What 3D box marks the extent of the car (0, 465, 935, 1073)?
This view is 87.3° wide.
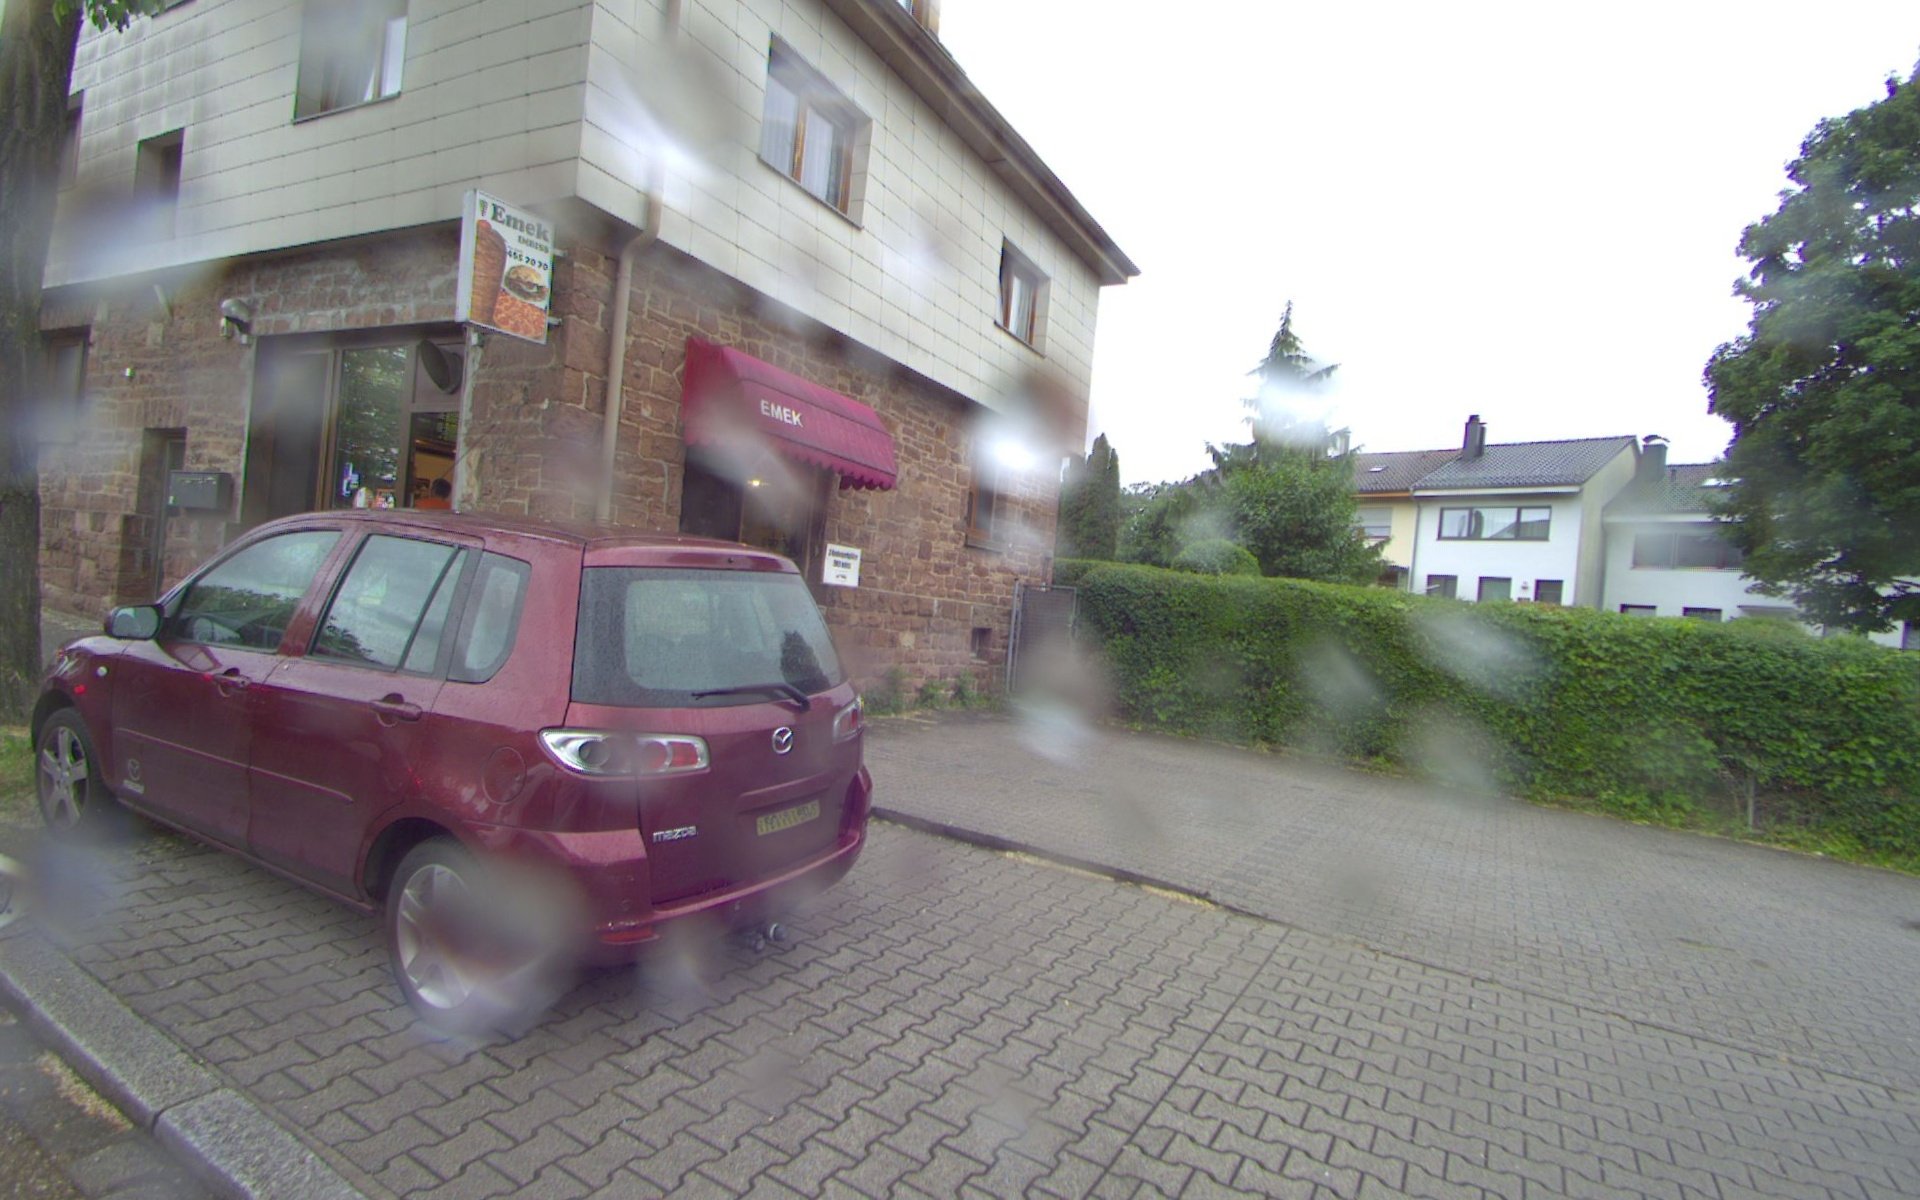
[{"bbox_3d":[-2.162,0.378,4.135,3.692,1.521,1.614,5,-3,29],"label":"car"}]

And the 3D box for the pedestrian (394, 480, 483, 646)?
[{"bbox_3d":[-5.545,-0.390,10.705,0.447,1.679,0.493,7,-1,31],"label":"pedestrian"}]
